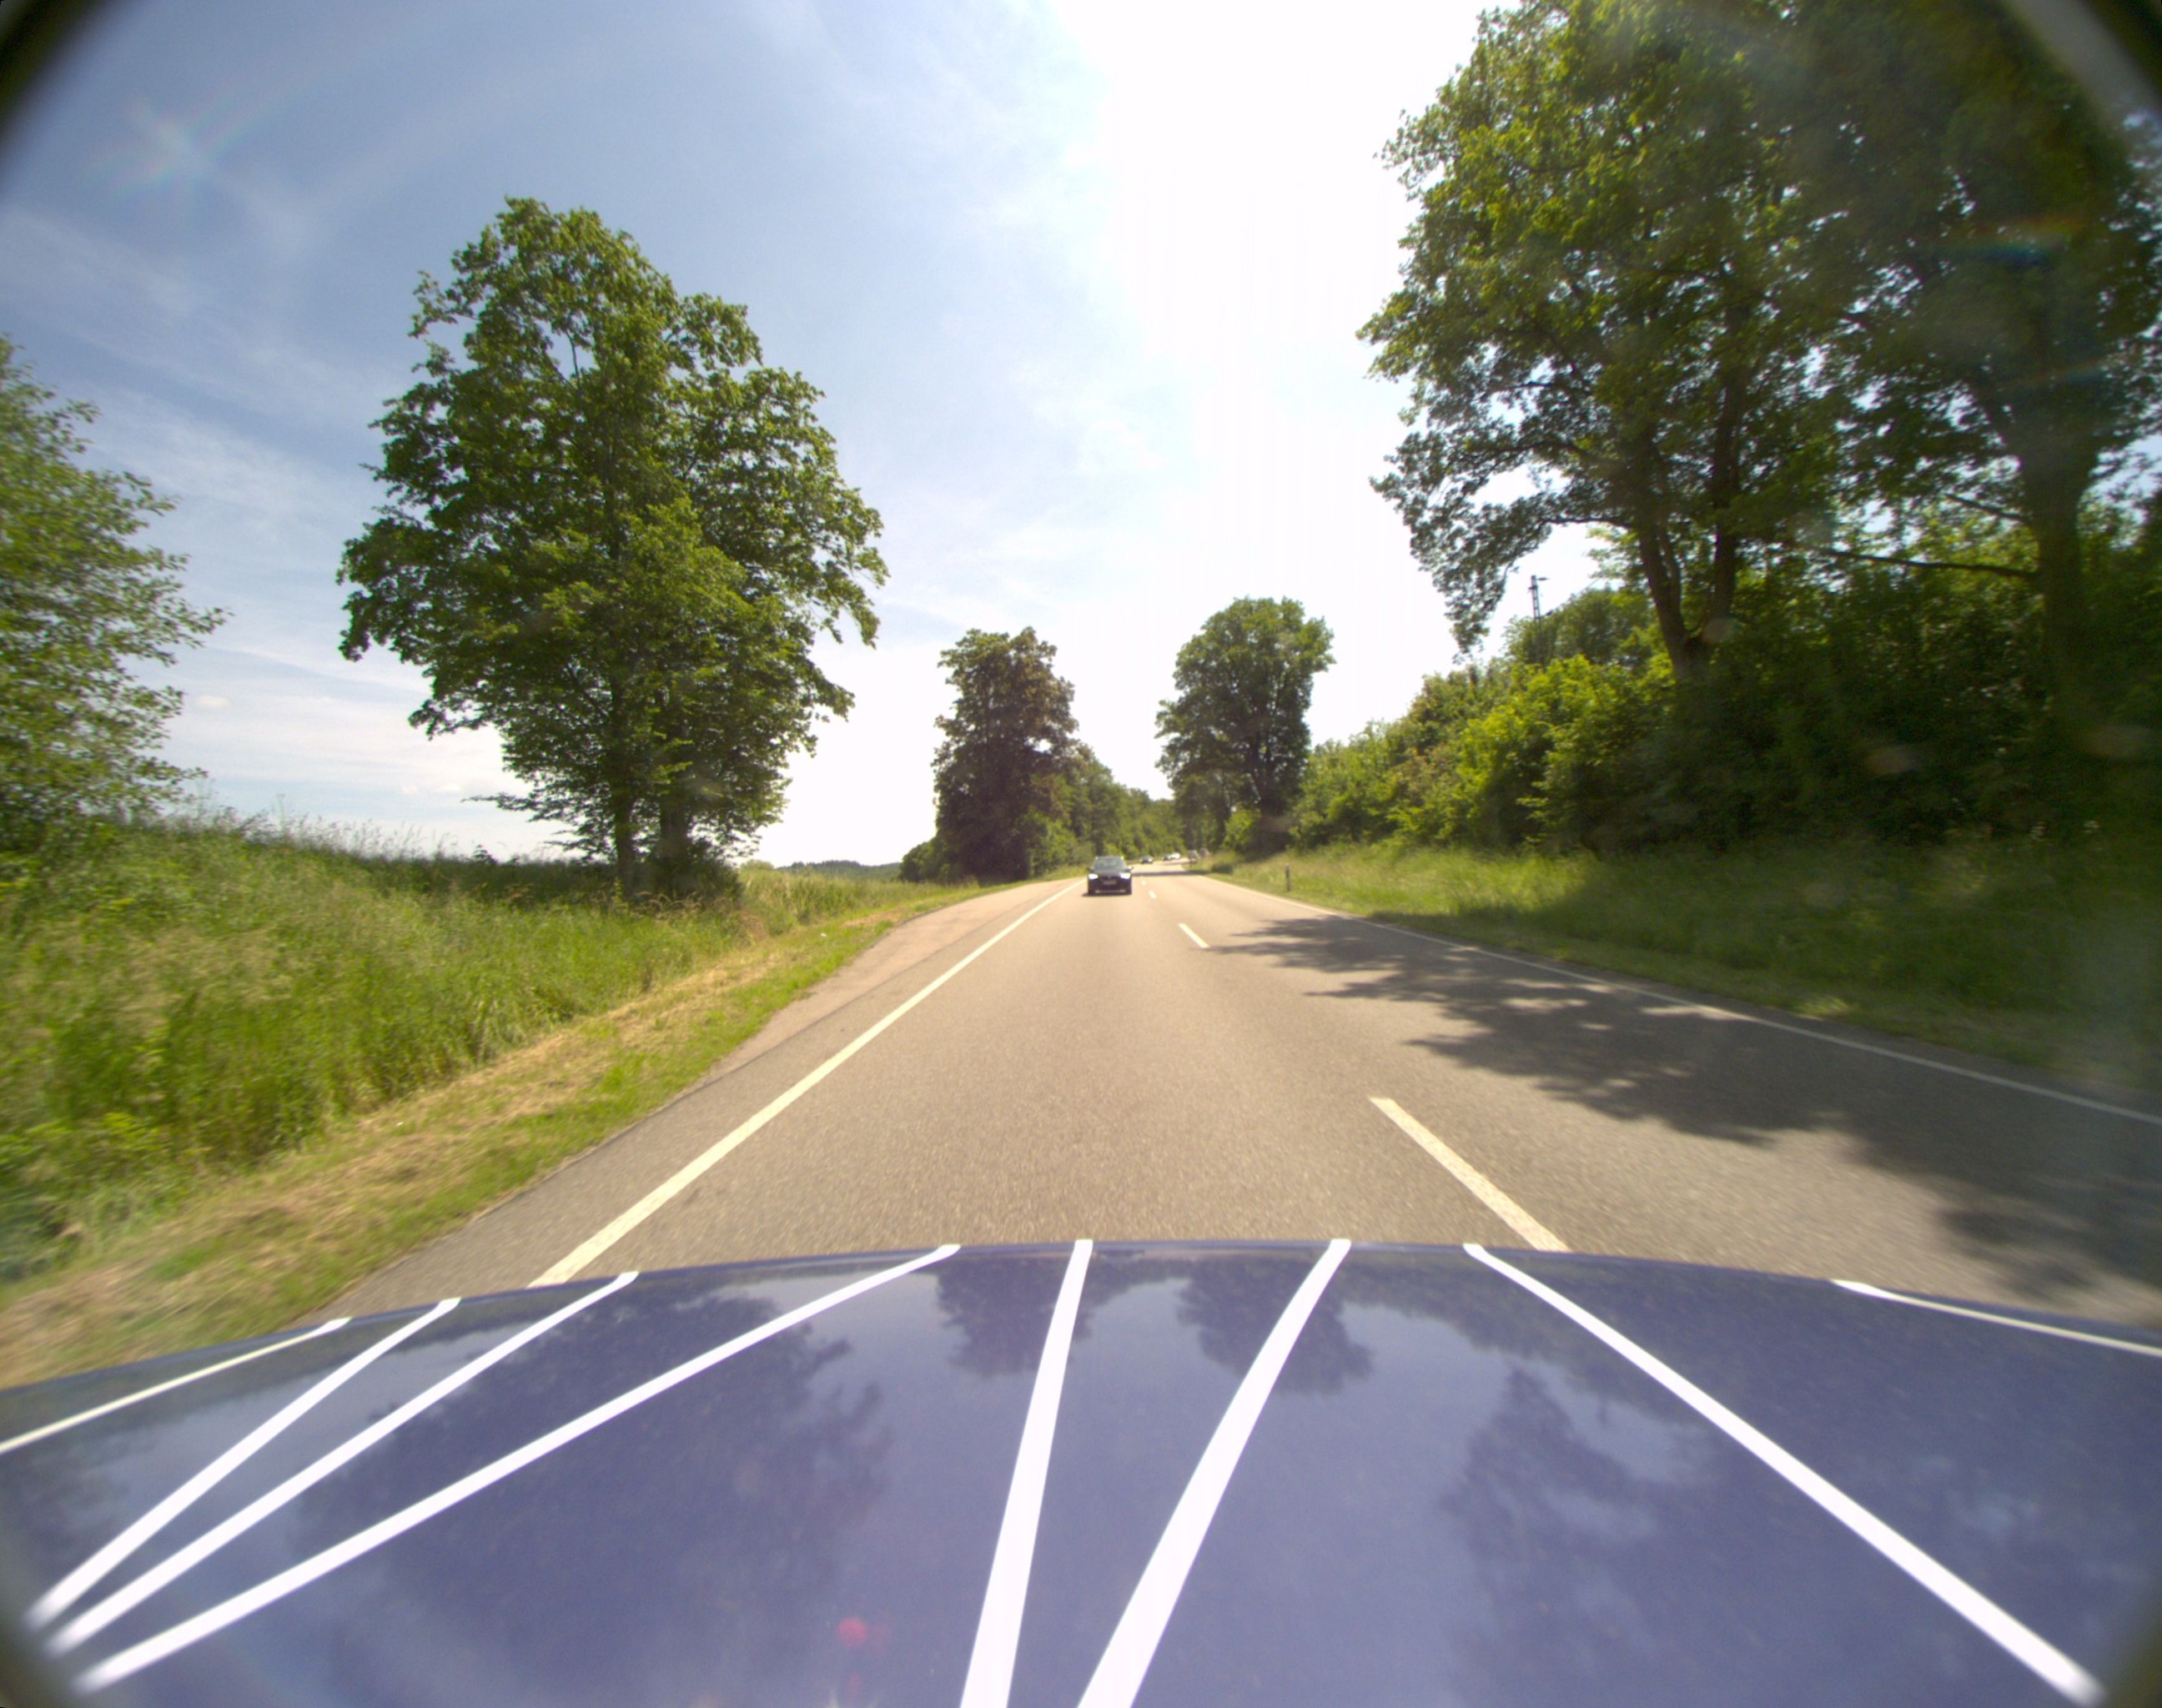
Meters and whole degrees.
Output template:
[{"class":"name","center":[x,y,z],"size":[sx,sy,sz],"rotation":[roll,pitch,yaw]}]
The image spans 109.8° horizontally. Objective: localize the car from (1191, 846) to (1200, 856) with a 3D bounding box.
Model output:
[{"class":"car","center":[25.640,-0.649,170.204],"size":[1.997,2.002,4.002],"rotation":[-2,0,9]}]

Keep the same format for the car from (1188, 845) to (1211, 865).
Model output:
[{"class":"car","center":[12.231,0.115,78.725],"size":[1.998,2.002,4.001],"rotation":[-2,0,5]}]

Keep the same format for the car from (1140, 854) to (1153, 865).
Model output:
[{"class":"car","center":[10.802,0.875,125.024],"size":[1.811,1.580,4.002],"rotation":[-2,0,7]}]

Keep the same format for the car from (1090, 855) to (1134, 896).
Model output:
[{"class":"car","center":[1.271,0.821,30.839],"size":[1.661,1.531,3.487],"rotation":[-2,0,3]}]

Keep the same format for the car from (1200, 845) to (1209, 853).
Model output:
[{"class":"car","center":[31.360,-1.262,192.933],"size":[1.997,2.002,4.002],"rotation":[-2,0,9]}]

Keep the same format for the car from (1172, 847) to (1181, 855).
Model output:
[{"class":"car","center":[22.077,-0.717,175.024],"size":[1.810,1.580,4.003],"rotation":[-2,0,11]}]

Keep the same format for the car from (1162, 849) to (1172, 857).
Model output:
[{"class":"car","center":[17.832,-0.287,157.838],"size":[1.810,1.580,4.002],"rotation":[-2,0,9]}]
